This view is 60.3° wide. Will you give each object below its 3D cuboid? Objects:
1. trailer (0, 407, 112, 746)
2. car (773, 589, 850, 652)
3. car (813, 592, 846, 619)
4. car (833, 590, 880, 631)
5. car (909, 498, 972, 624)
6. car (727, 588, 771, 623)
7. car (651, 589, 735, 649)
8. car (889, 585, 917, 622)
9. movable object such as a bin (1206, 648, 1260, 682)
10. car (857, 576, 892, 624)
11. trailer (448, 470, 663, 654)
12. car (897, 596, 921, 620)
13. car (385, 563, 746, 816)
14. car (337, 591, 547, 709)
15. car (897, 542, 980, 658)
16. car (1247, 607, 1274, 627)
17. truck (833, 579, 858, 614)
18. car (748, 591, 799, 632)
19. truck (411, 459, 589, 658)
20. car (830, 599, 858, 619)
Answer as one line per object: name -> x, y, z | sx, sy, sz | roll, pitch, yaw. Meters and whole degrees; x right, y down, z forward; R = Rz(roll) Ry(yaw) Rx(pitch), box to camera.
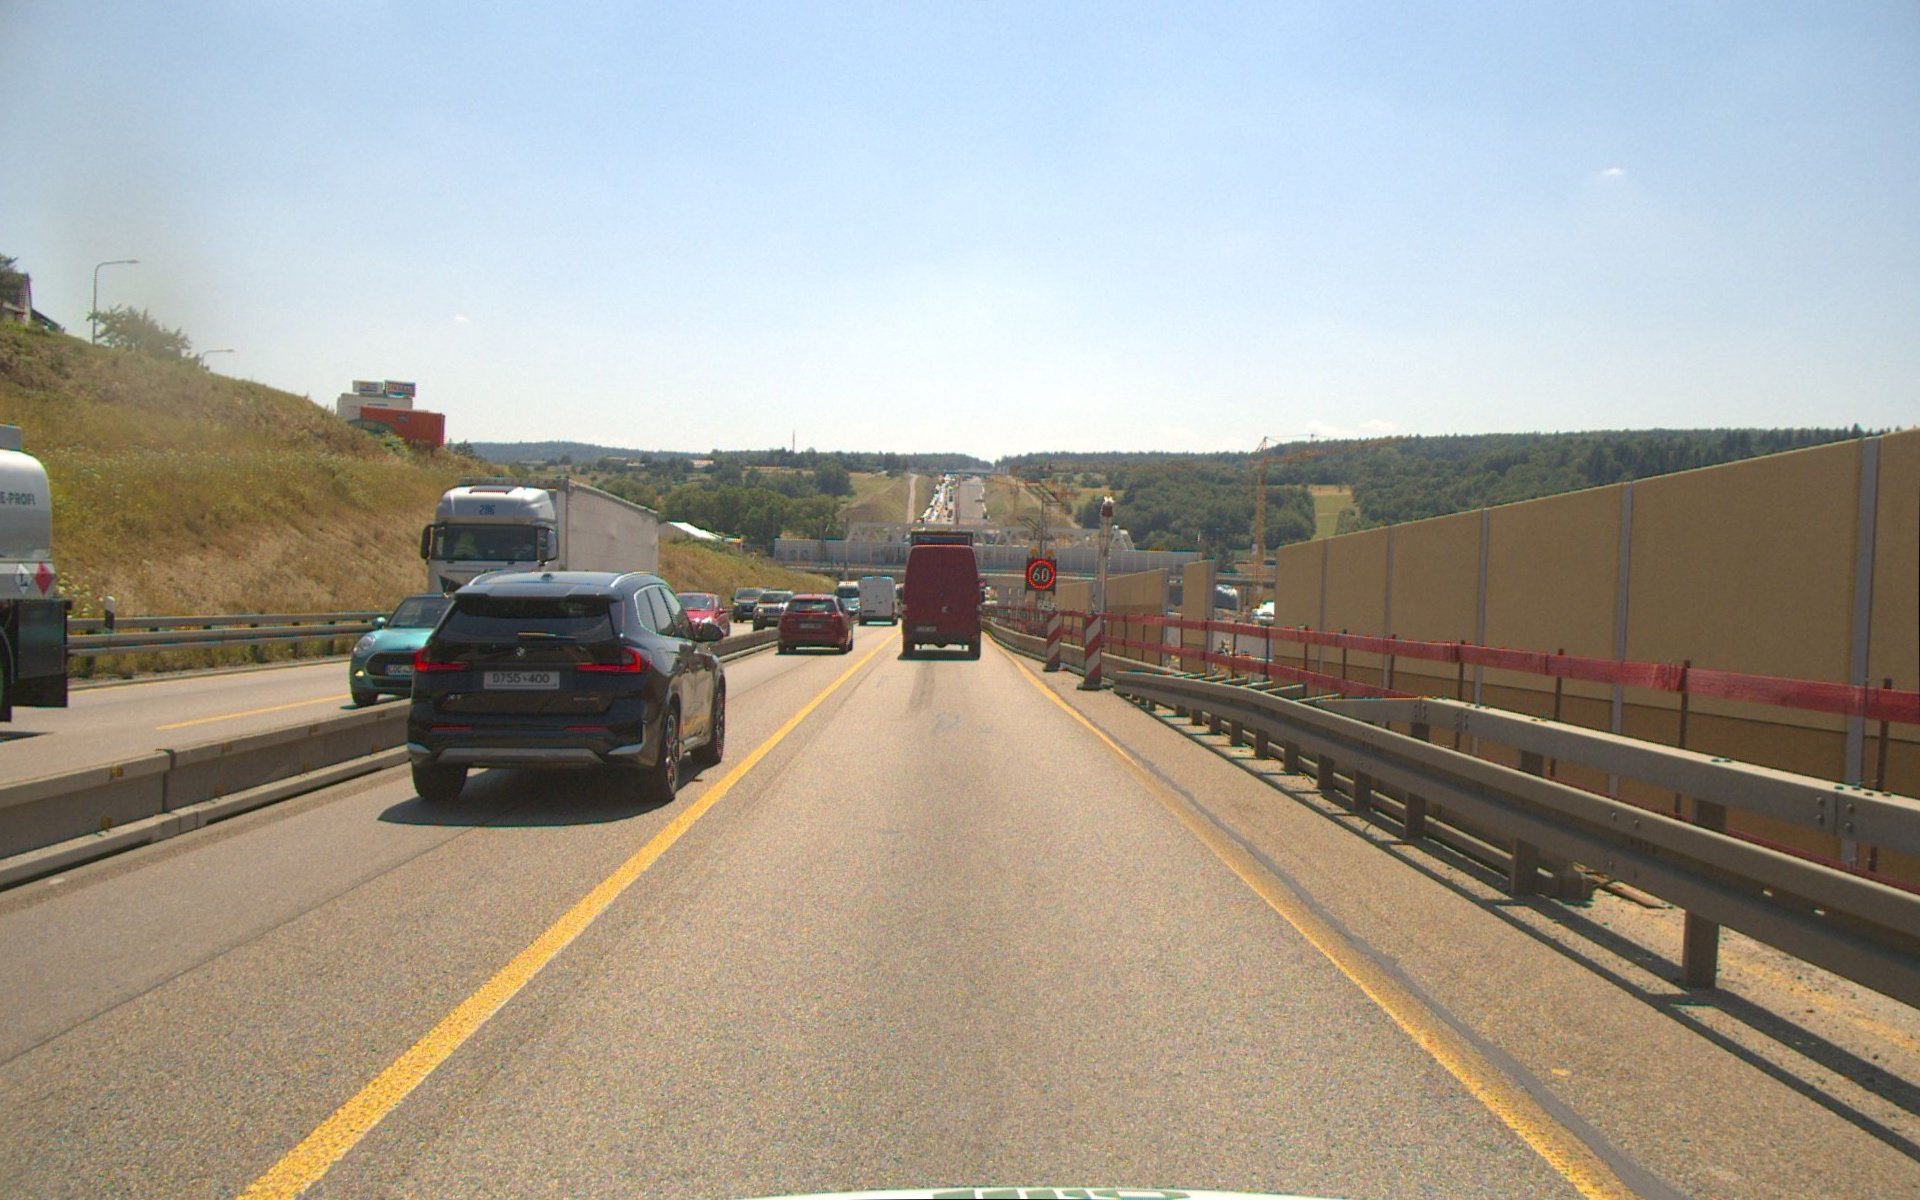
trailer -> -9.923, -0.220, 13.694 | 2.559, 3.053, 6.369 | 1, 0, -1
car -> -3.760, 0.501, 42.498 | 1.740, 1.544, 4.204 | 0, 0, -2
car -> -8.244, 0.326, 104.730 | 1.802, 1.683, 5.369 | 0, 0, -2
car -> -4.317, 0.416, 69.341 | 1.802, 1.683, 4.163 | 0, 0, -2
car -> -0.880, -1.573, 72.237 | 2.568, 5.120, 10.394 | 0, 0, -1
car -> -12.107, 0.292, 95.192 | 1.997, 1.960, 5.120 | -1, 0, -2
car -> -7.042, 0.476, 43.875 | 1.636, 1.492, 3.999 | 0, 0, -1
car -> -3.672, 0.230, 106.887 | 1.740, 2.370, 4.205 | 0, 0, -1
movable object such as a bin -> 22.719, 5.399, 138.130 | 3.098, 2.488, 7.893 | 3, 0, 0
car -> -4.607, -0.005, 89.083 | 1.740, 2.484, 4.205 | 0, 0, -1
trailer -> -10.672, -0.918, 45.498 | 2.729, 4.255, 13.975 | 0, 0, -1
car -> -3.805, 0.584, 123.316 | 1.740, 1.699, 4.027 | 0, 0, -1
car -> -2.868, 0.585, 13.064 | 1.841, 1.646, 4.498 | 0, 0, -1
car -> -6.797, 0.603, 22.102 | 1.632, 1.418, 3.904 | 0, 0, -1
car -> -0.537, 0.005, 41.239 | 1.948, 2.737, 4.622 | 0, 0, -1
car -> 31.901, 1.838, 175.503 | 1.769, 2.049, 4.822 | 1, 0, -3
truck -> -13.432, -0.398, 194.461 | 2.643, 4.121, 3.954 | 1, 0, -1
car -> -7.950, 0.500, 70.772 | 1.795, 1.695, 4.413 | 0, 0, -1
truck -> -10.509, -0.905, 38.330 | 2.690, 4.255, 5.287 | 0, 0, -1
car -> -8.992, 0.691, 128.792 | 1.915, 1.525, 5.089 | 1, 0, -1
